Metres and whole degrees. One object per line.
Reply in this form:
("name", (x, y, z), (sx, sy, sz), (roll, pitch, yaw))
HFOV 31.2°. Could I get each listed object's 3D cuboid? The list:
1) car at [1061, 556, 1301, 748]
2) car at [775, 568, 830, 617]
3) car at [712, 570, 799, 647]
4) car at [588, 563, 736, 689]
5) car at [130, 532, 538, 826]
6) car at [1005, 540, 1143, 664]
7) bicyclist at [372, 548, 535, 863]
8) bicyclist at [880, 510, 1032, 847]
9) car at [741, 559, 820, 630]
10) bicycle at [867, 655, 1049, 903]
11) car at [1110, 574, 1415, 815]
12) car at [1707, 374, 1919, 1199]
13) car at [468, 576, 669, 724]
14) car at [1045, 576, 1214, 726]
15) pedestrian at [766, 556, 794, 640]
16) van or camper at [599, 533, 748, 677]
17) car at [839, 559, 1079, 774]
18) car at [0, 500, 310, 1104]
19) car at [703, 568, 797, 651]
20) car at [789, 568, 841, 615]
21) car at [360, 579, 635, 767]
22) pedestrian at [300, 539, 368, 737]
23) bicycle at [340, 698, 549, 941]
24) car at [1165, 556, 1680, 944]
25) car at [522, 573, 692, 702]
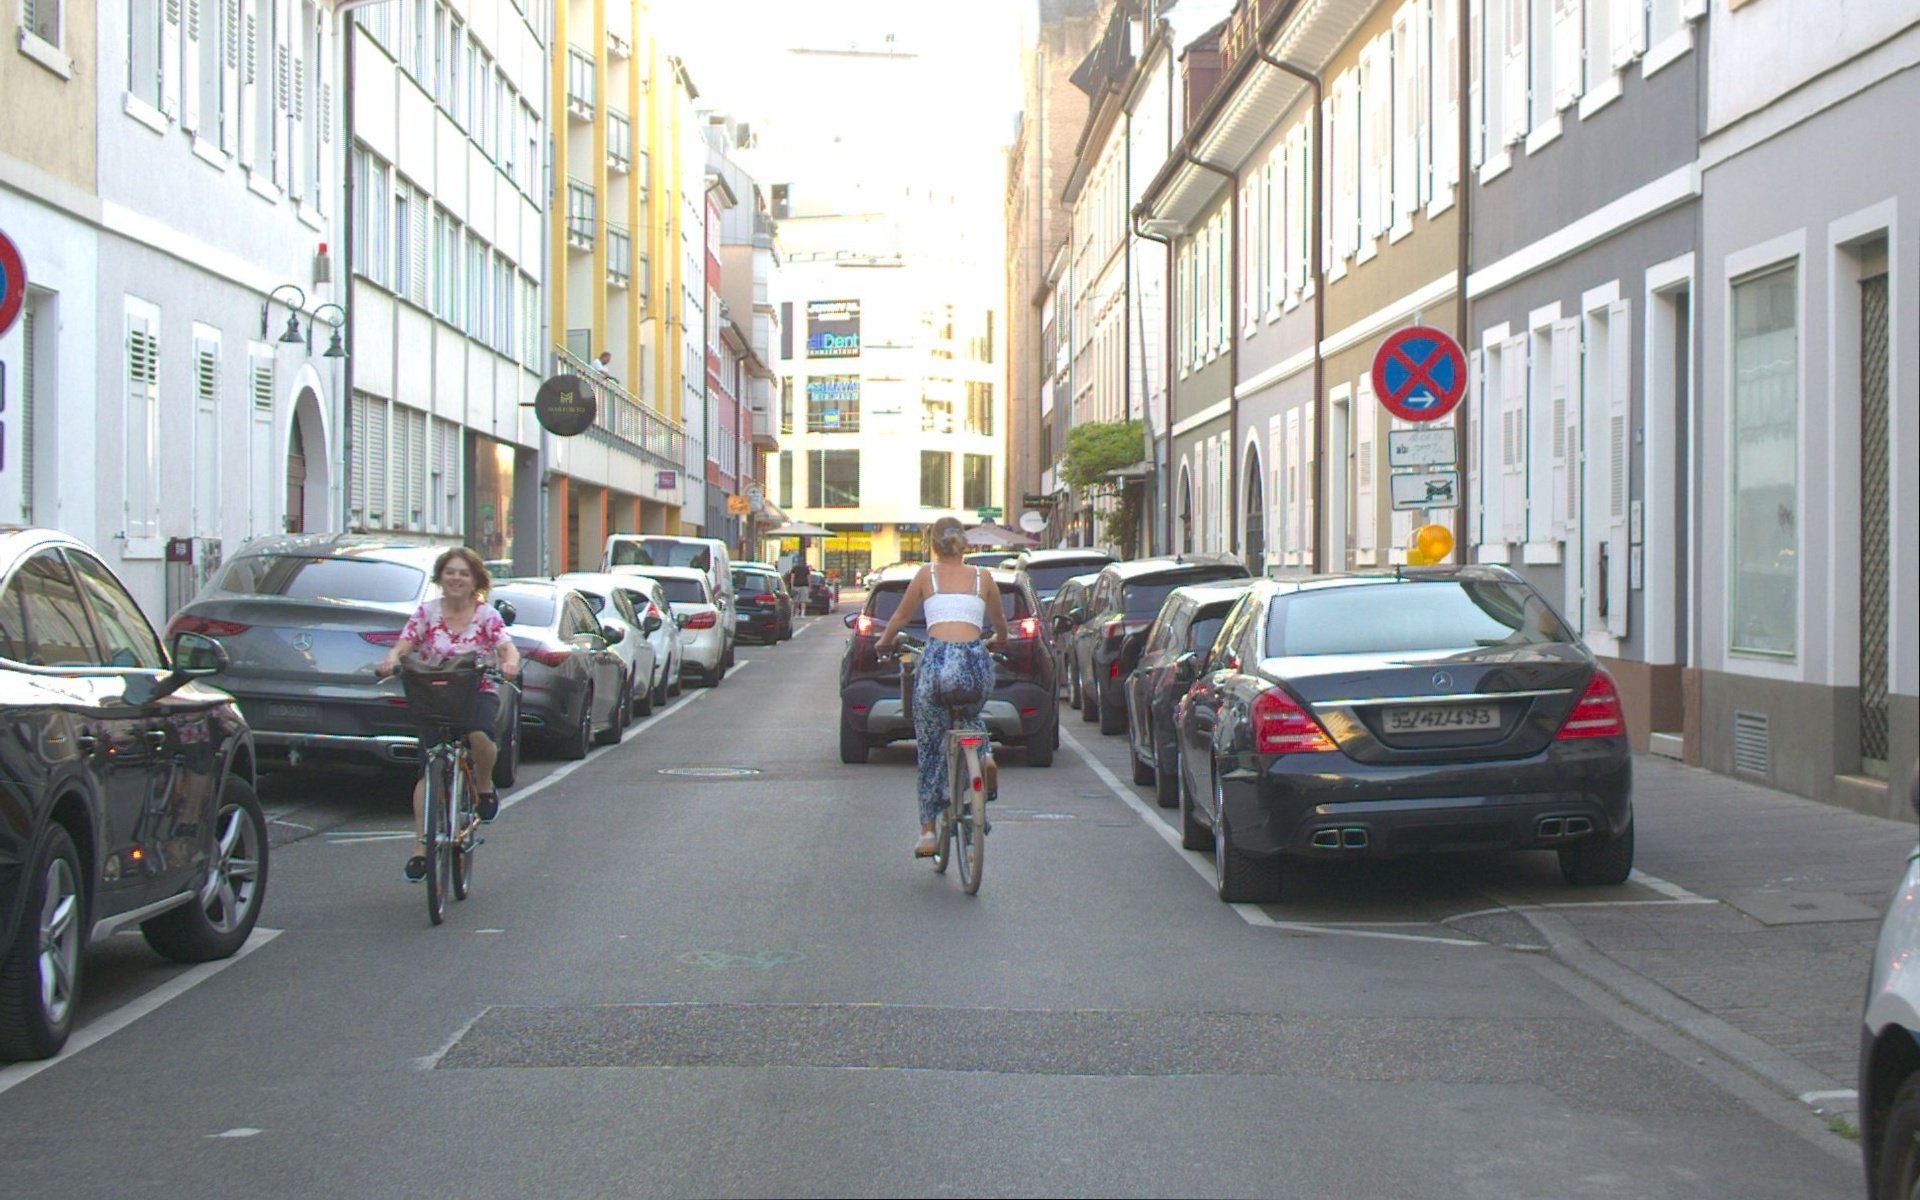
("car", (2.112, 0.465, 33.954), (1.918, 1.732, 4.153), (1, 0, -2))
("car", (-5.203, -0.267, 113.607), (1.653, 1.555, 3.606), (1, 0, -1))
("car", (-4.342, 0.157, 73.385), (1.653, 1.555, 3.606), (1, 0, -1))
("car", (-3.919, 0.317, 45.711), (1.653, 1.555, 3.606), (1, 0, -1))
("car", (-4.002, 0.452, 22.727), (1.997, 1.701, 4.536), (1, 0, -2))
("car", (1.494, 0.010, 46.171), (1.653, 1.555, 3.606), (1, 0, -1))
("bicyclist", (-2.242, 0.457, 15.262), (0.606, 1.365, 0.621), (1, 0, 2))
("bicyclist", (-0.026, 0.367, 16.389), (0.620, 1.569, 0.684), (1, 0, -8))
("car", (-4.115, -0.136, 79.237), (1.653, 1.555, 3.606), (1, 0, -1))
("bicycle", (-0.034, 0.827, 16.488), (0.613, 1.078, 1.810), (1, 0, -8))
("car", (2.009, 0.588, 23.854), (1.676, 1.481, 4.000), (1, 0, -1))
("car", (2.506, 0.550, 3.958), (1.941, 1.888, 5.317), (-3, 0, -1))
("car", (-4.003, 0.474, 35.641), (1.653, 1.406, 3.902), (1, 0, -1))
("car", (1.863, 0.533, 38.705), (1.653, 1.555, 3.606), (1, 0, -1))
("pedestrian", (-3.782, -0.039, 72.180), (0.553, 1.746, 0.568), (1, 0, -3))
("van or camper", (-4.238, 0.048, 51.476), (1.844, 2.006, 4.678), (1, 0, -1))
("car", (-0.053, 0.498, 28.576), (1.819, 1.612, 4.000), (1, 0, -1))
("car", (-3.540, 0.539, 11.617), (1.803, 1.671, 4.490), (0, 0, 1))
("car", (-4.138, 0.173, 68.239), (1.653, 1.555, 3.606), (1, 0, -1))
("car", (-5.055, -0.312, 120.378), (1.653, 1.555, 3.606), (1, 0, -1))
("car", (-3.861, 0.568, 29.361), (1.918, 1.429, 4.294), (1, 0, -3))
("pedestrian", (-6.395, 0.384, 35.135), (0.610, 2.007, 0.450), (1, 0, -3))
("bicycle", (-2.242, 0.936, 15.151), (0.613, 0.929, 1.886), (1, 0, 0))
("car", (2.091, 0.613, 16.958), (1.819, 1.525, 5.071), (-3, 0, 1))
("car", (-4.137, 0.411, 40.731), (1.653, 1.406, 3.606), (1, 0, -1))
